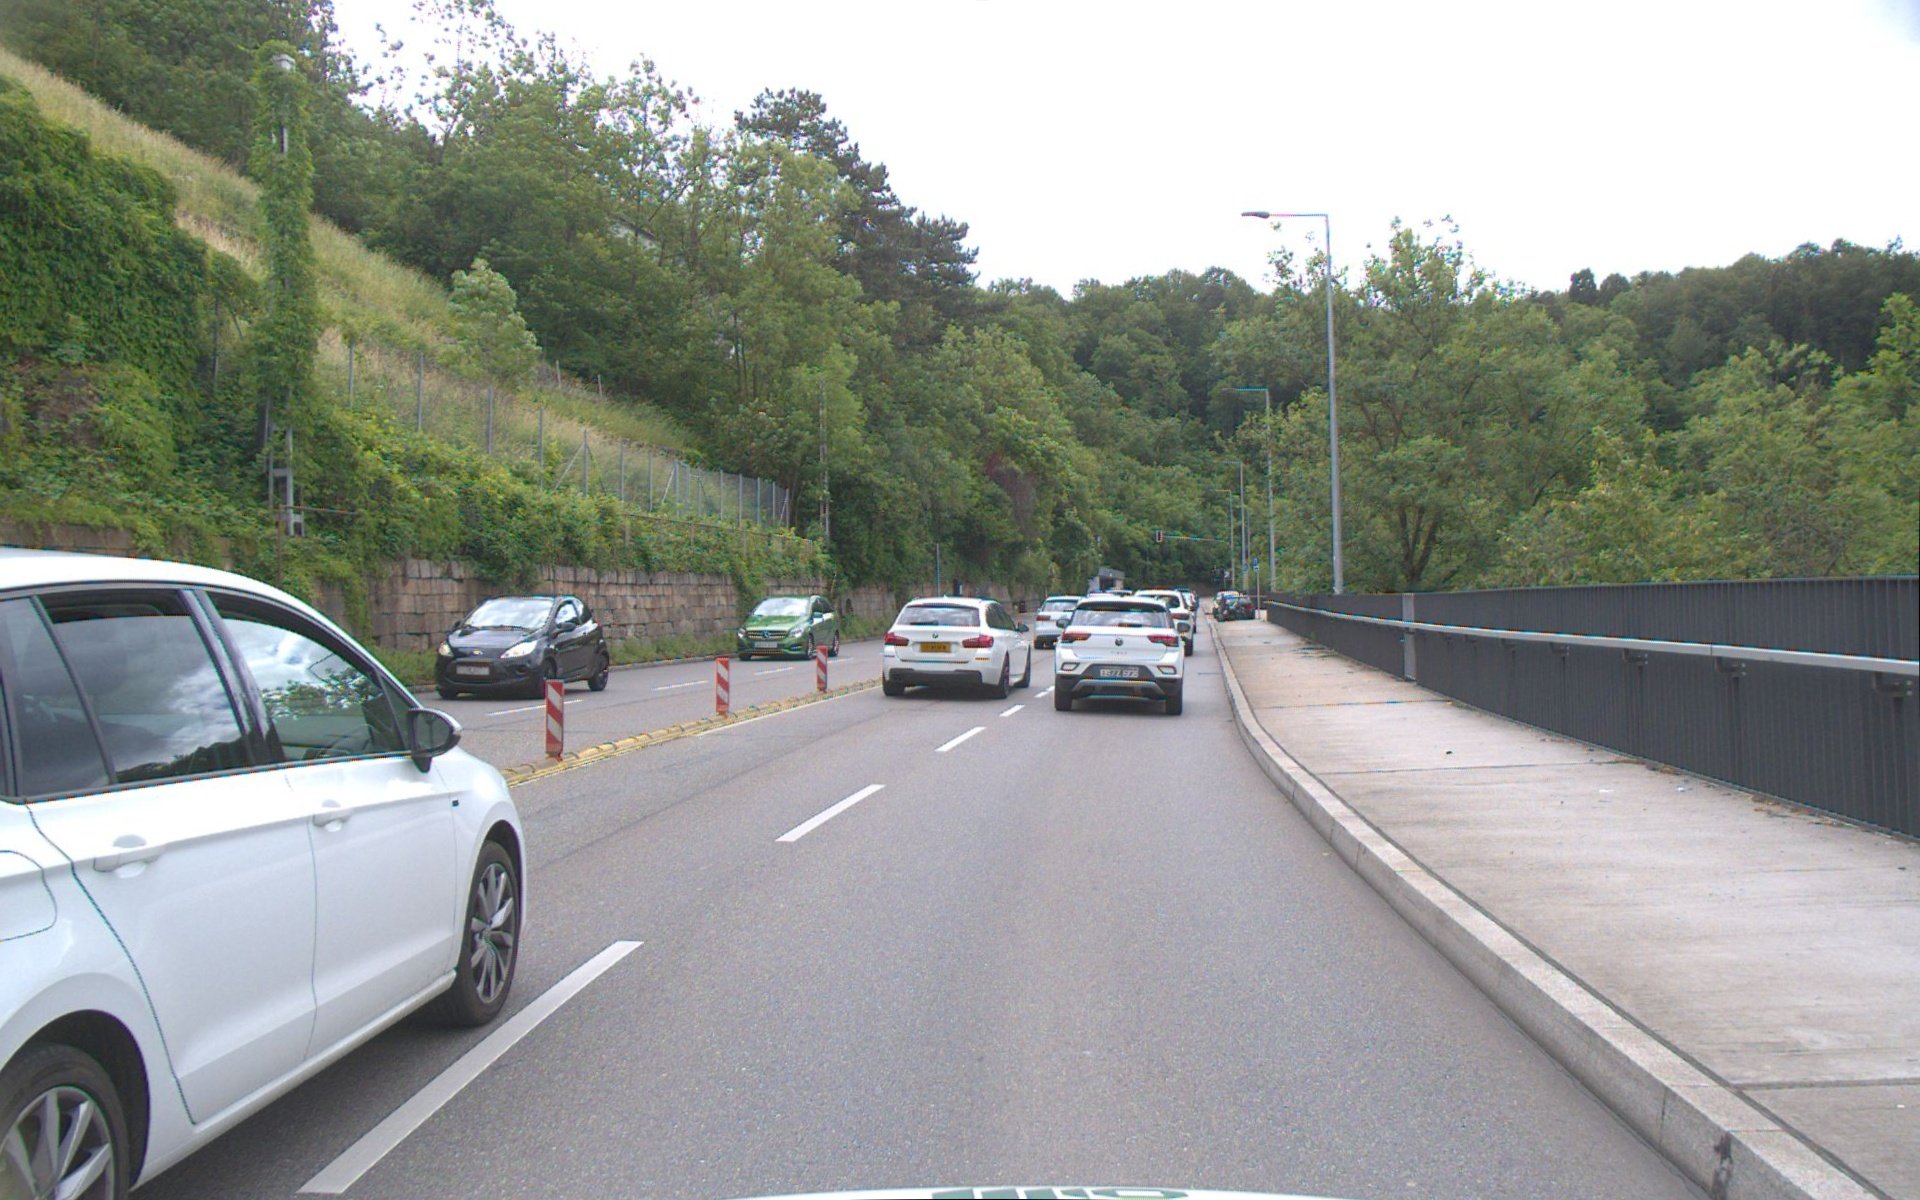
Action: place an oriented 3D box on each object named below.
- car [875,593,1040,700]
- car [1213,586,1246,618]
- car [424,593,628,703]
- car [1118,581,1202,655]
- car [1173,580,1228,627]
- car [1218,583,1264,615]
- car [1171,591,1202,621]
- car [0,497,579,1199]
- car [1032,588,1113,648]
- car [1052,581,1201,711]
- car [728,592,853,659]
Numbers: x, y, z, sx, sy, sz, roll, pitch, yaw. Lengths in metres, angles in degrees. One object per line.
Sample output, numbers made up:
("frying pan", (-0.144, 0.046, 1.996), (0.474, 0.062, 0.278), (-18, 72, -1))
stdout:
("car", (0.068, 0.649, 25.583), (1.789, 1.485, 4.490), (1, 0, 10))
("car", (16.348, 0.099, 100.485), (1.951, 1.748, 4.118), (0, 2, 9))
("car", (-6.338, 0.650, 24.591), (1.670, 1.467, 4.002), (1, 0, 5))
("car", (5.289, 0.421, 43.334), (1.951, 1.748, 4.118), (2, 1, 9))
("car", (9.237, 0.139, 63.747), (1.951, 1.747, 4.003), (1, 0, 7))
("car", (13.963, -0.041, 82.426), (1.777, 1.534, 4.001), (0, 0, 2))
("car", (14.737, 0.397, 107.775), (1.951, 1.892, 4.003), (0, 0, 7))
("car", (-2.446, 0.639, 4.297), (1.783, 1.608, 4.357), (0, 0, 2))
("car", (3.268, 0.481, 47.245), (1.951, 1.529, 4.672), (0, 2, 8))
("car", (2.453, 0.613, 23.525), (1.789, 1.634, 4.003), (1, 0, 10))
("car", (-4.094, 0.591, 40.769), (1.811, 1.542, 4.337), (1, 0, 12))
